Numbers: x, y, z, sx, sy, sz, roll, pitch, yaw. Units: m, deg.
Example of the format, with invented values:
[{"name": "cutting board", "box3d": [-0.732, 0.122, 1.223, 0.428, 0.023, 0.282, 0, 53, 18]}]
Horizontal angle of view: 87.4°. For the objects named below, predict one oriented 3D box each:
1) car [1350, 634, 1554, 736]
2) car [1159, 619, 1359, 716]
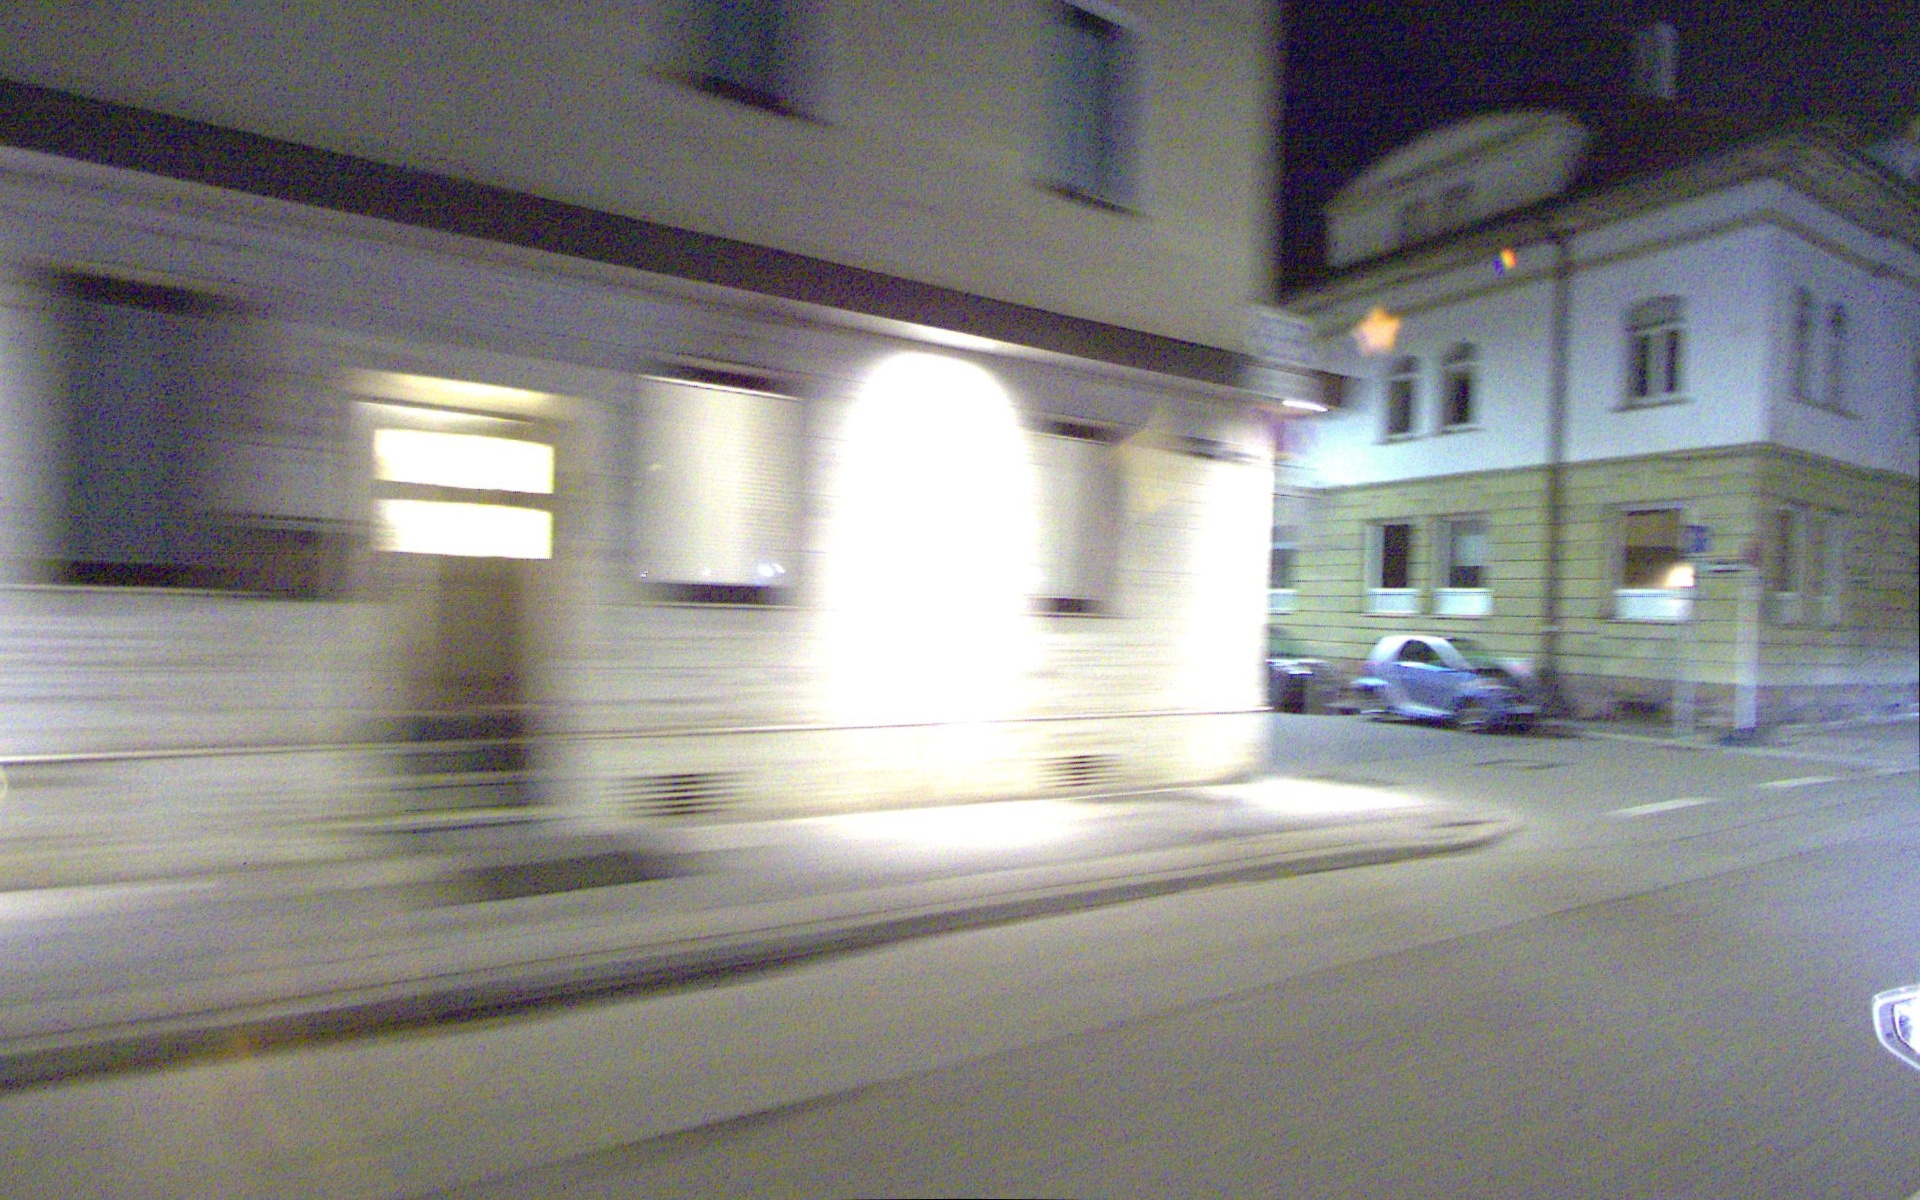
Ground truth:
[{"name": "car", "box3d": [8.328, 1.385, 17.159, 1.472, 1.533, 2.797, 2, -1, -30]}, {"name": "car", "box3d": [6.015, 1.302, 20.634, 1.698, 1.789, 3.852, 2, -2, -30]}]
